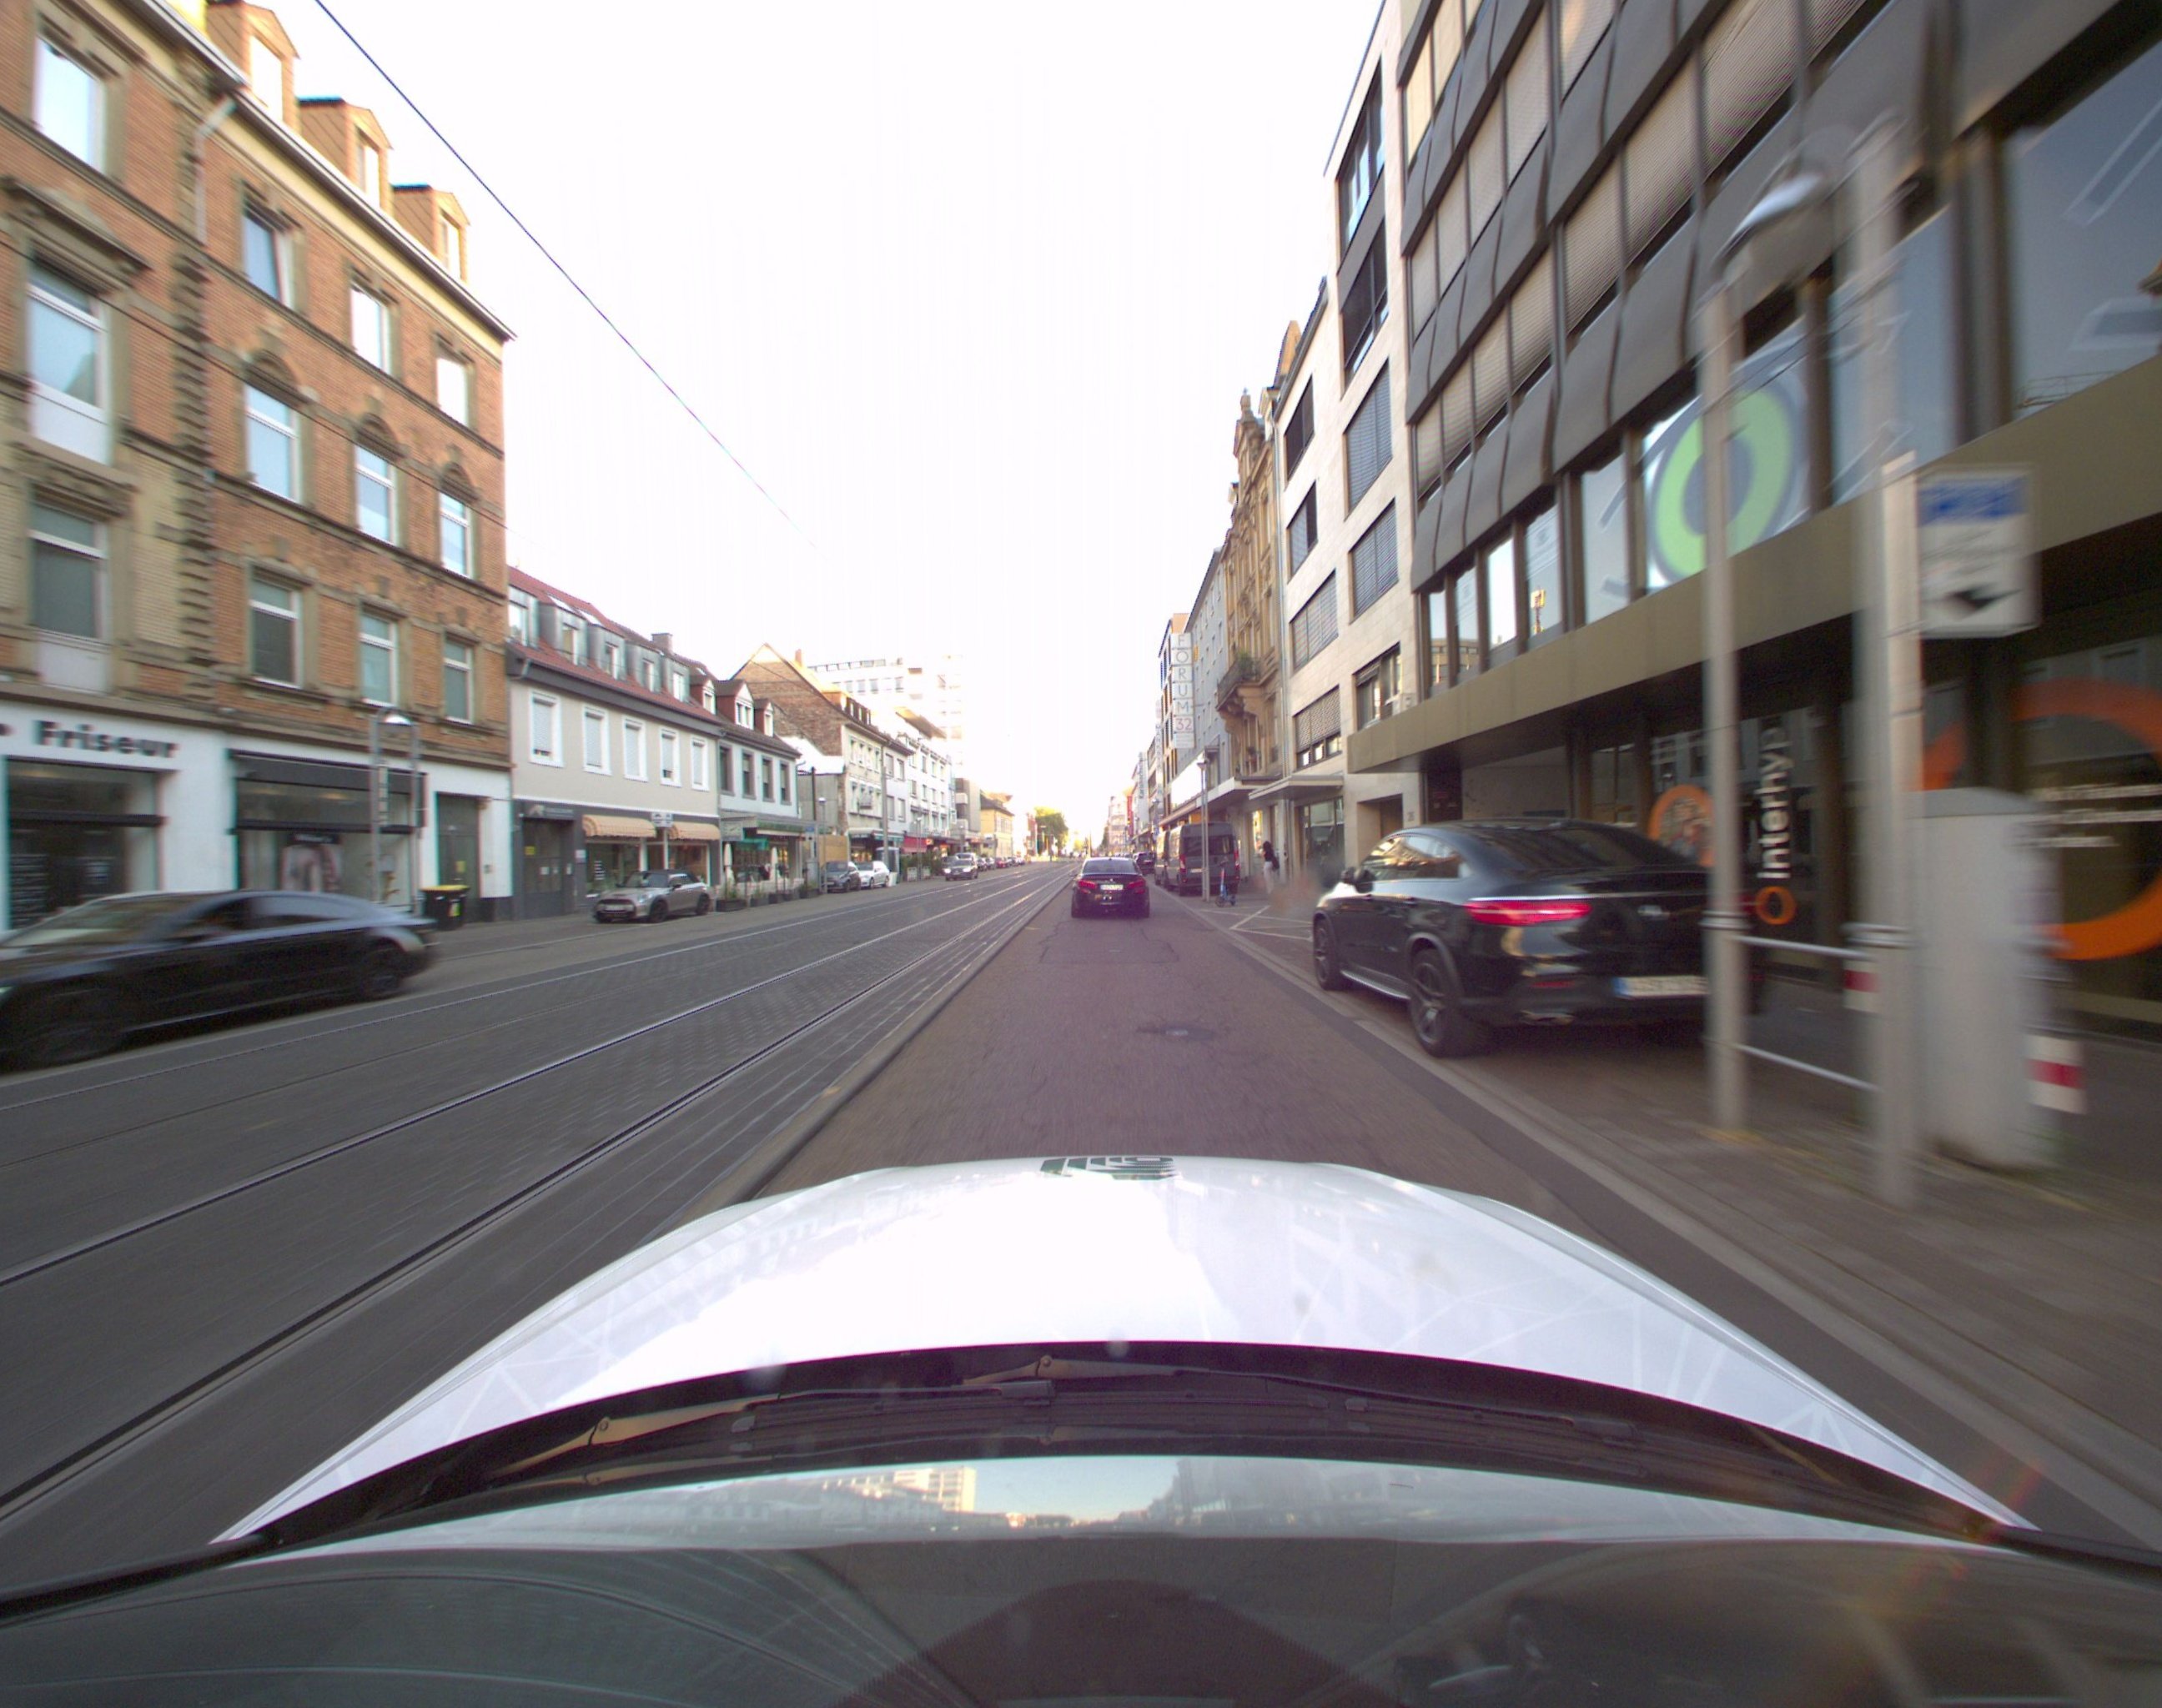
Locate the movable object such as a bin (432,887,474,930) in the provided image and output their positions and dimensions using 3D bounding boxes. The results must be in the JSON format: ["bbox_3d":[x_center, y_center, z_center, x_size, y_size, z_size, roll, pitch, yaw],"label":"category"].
[{"bbox_3d":[-15.710,1.357,20.383,0.493,1.033,0.694,0,0,1],"label":"movable object such as a bin"}]

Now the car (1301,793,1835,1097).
[{"bbox_3d":[3.511,0.546,7.130,1.986,1.727,4.566,-2,0,1],"label":"car"}]

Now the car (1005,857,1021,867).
[{"bbox_3d":[-10.100,1.180,121.628,1.921,1.435,4.247,-2,0,1],"label":"car"}]

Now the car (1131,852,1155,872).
[{"bbox_3d":[4.867,0.642,64.139,1.554,1.442,3.709,-4,0,1],"label":"car"}]

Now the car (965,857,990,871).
[{"bbox_3d":[-10.981,1.048,86.624,1.921,1.435,4.247,-1,0,1],"label":"car"}]

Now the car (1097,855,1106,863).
[{"bbox_3d":[4.167,0.949,166.622,1.768,1.549,3.503,-1,-1,1],"label":"car"}]

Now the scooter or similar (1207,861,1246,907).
[{"bbox_3d":[4.053,0.827,22.662,0.493,1.220,1.273,-2,0,38],"label":"scooter or similar"}]

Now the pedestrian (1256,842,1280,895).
[{"bbox_3d":[6.060,0.462,26.366,0.548,1.644,0.533,-4,0,1],"label":"pedestrian"}]

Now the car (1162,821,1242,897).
[{"bbox_3d":[4.348,0.166,30.307,2.085,2.455,6.033,-3,0,1],"label":"car"}]

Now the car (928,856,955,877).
[{"bbox_3d":[-12.016,1.083,70.410,1.862,1.685,3.995,-1,0,-3],"label":"car"}]

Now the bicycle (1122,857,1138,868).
[{"bbox_3d":[5.621,0.976,93.896,1.854,1.119,0.469,-1,-2,2],"label":"bicycle"}]

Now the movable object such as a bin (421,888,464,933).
[{"bbox_3d":[-15.372,1.358,19.615,0.516,1.043,0.659,0,0,1],"label":"movable object such as a bin"}]

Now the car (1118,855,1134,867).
[{"bbox_3d":[5.795,0.902,104.297,1.896,1.549,3.781,-1,-1,1],"label":"car"}]

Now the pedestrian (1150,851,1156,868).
[{"bbox_3d":[7.649,0.579,86.367,0.552,1.791,0.760,-2,0,1],"label":"pedestrian"}]

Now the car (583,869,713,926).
[{"bbox_3d":[-12.372,1.201,23.574,1.592,1.440,3.814,1,0,2],"label":"car"}]

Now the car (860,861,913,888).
[{"bbox_3d":[-11.624,1.204,48.988,1.986,1.453,4.332,-2,0,2],"label":"car"}]

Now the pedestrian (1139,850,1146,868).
[{"bbox_3d":[5.534,0.442,73.065,0.555,1.647,0.760,-2,0,0],"label":"pedestrian"}]

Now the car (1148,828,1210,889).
[{"bbox_3d":[4.326,0.189,36.733,2.027,2.455,5.408,-3,0,0],"label":"car"}]

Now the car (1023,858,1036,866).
[{"bbox_3d":[-9.574,1.414,150.967,1.921,1.435,4.247,-1,0,1],"label":"car"}]

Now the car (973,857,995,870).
[{"bbox_3d":[-11.069,1.032,93.201,1.921,1.435,4.247,-1,0,1],"label":"car"}]

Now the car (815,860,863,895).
[{"bbox_3d":[-11.745,1.110,39.660,1.472,1.577,2.794,-2,0,0],"label":"car"}]

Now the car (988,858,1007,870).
[{"bbox_3d":[-10.555,1.254,103.002,1.921,1.435,4.247,-1,0,1],"label":"car"}]

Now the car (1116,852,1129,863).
[{"bbox_3d":[5.983,0.585,118.722,1.768,1.549,3.503,-1,-1,1],"label":"car"}]

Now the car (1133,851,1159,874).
[{"bbox_3d":[4.687,0.619,59.122,1.649,1.537,3.886,-3,0,1],"label":"car"}]

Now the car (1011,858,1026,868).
[{"bbox_3d":[-9.783,1.441,127.799,1.921,1.435,4.247,-1,0,1],"label":"car"}]

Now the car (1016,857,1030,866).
[{"bbox_3d":[-10.078,1.324,141.573,1.921,1.435,4.247,-1,0,1],"label":"car"}]

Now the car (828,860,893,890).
[{"bbox_3d":[-11.838,1.114,44.133,1.986,1.453,4.824,-2,0,2],"label":"car"}]

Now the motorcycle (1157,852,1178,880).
[{"bbox_3d":[4.730,0.645,44.559,0.841,1.419,2.165,-4,0,1],"label":"motorcycle"}]

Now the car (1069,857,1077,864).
[{"bbox_3d":[-2.150,1.777,227.989,1.986,1.838,4.000,-1,-3,1],"label":"car"}]

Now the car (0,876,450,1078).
[{"bbox_3d":[-9.352,1.072,8.348,1.986,1.453,4.650,-3,0,1],"label":"car"}]

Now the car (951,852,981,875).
[{"bbox_3d":[-11.161,0.891,79.132,1.986,2.156,4.913,-2,0,2],"label":"car"}]

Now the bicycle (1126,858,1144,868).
[{"bbox_3d":[5.840,0.966,88.177,1.854,1.080,0.469,-1,-2,2],"label":"bicycle"}]

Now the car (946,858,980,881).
[{"bbox_3d":[-8.111,1.038,56.325,1.687,1.453,4.463,-2,0,-1],"label":"car"}]

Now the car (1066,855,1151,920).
[{"bbox_3d":[0.748,0.776,20.913,1.946,1.498,4.468,0,0,3],"label":"car"}]

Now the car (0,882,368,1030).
[{"bbox_3d":[-12.746,1.192,11.173,1.863,1.453,4.608,1,0,-1],"label":"car"}]

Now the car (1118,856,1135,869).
[{"bbox_3d":[5.430,1.013,97.534,1.896,1.549,4.001,-1,-1,1],"label":"car"}]

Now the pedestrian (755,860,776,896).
[{"bbox_3d":[-14.576,1.085,37.618,0.660,1.644,0.694,-1,0,1],"label":"pedestrian"}]
